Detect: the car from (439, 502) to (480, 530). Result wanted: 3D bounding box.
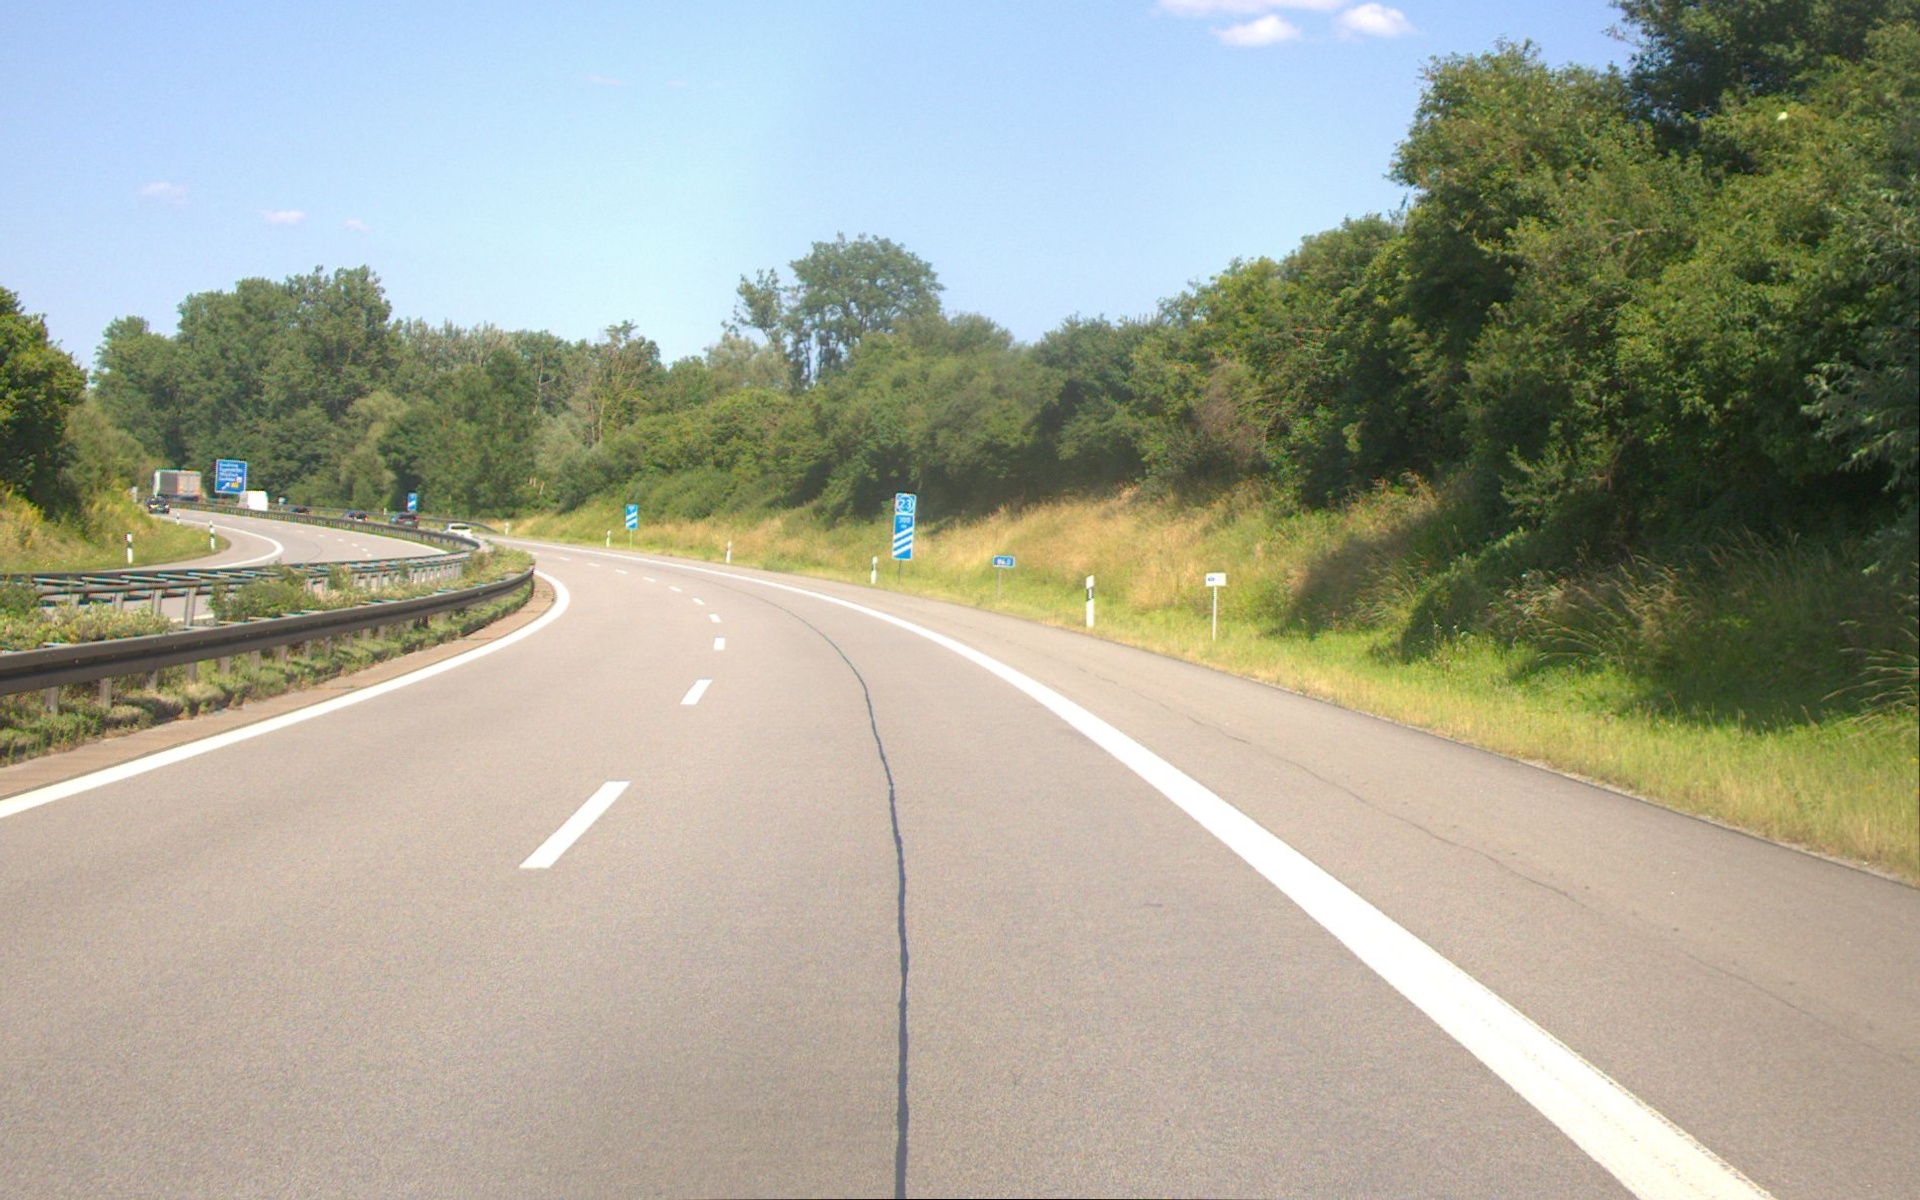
[{"bbox_3d":[-31.604,-5.310,216.989,2.061,1.619,4.001,1,0,-15],"label":"car"}]
